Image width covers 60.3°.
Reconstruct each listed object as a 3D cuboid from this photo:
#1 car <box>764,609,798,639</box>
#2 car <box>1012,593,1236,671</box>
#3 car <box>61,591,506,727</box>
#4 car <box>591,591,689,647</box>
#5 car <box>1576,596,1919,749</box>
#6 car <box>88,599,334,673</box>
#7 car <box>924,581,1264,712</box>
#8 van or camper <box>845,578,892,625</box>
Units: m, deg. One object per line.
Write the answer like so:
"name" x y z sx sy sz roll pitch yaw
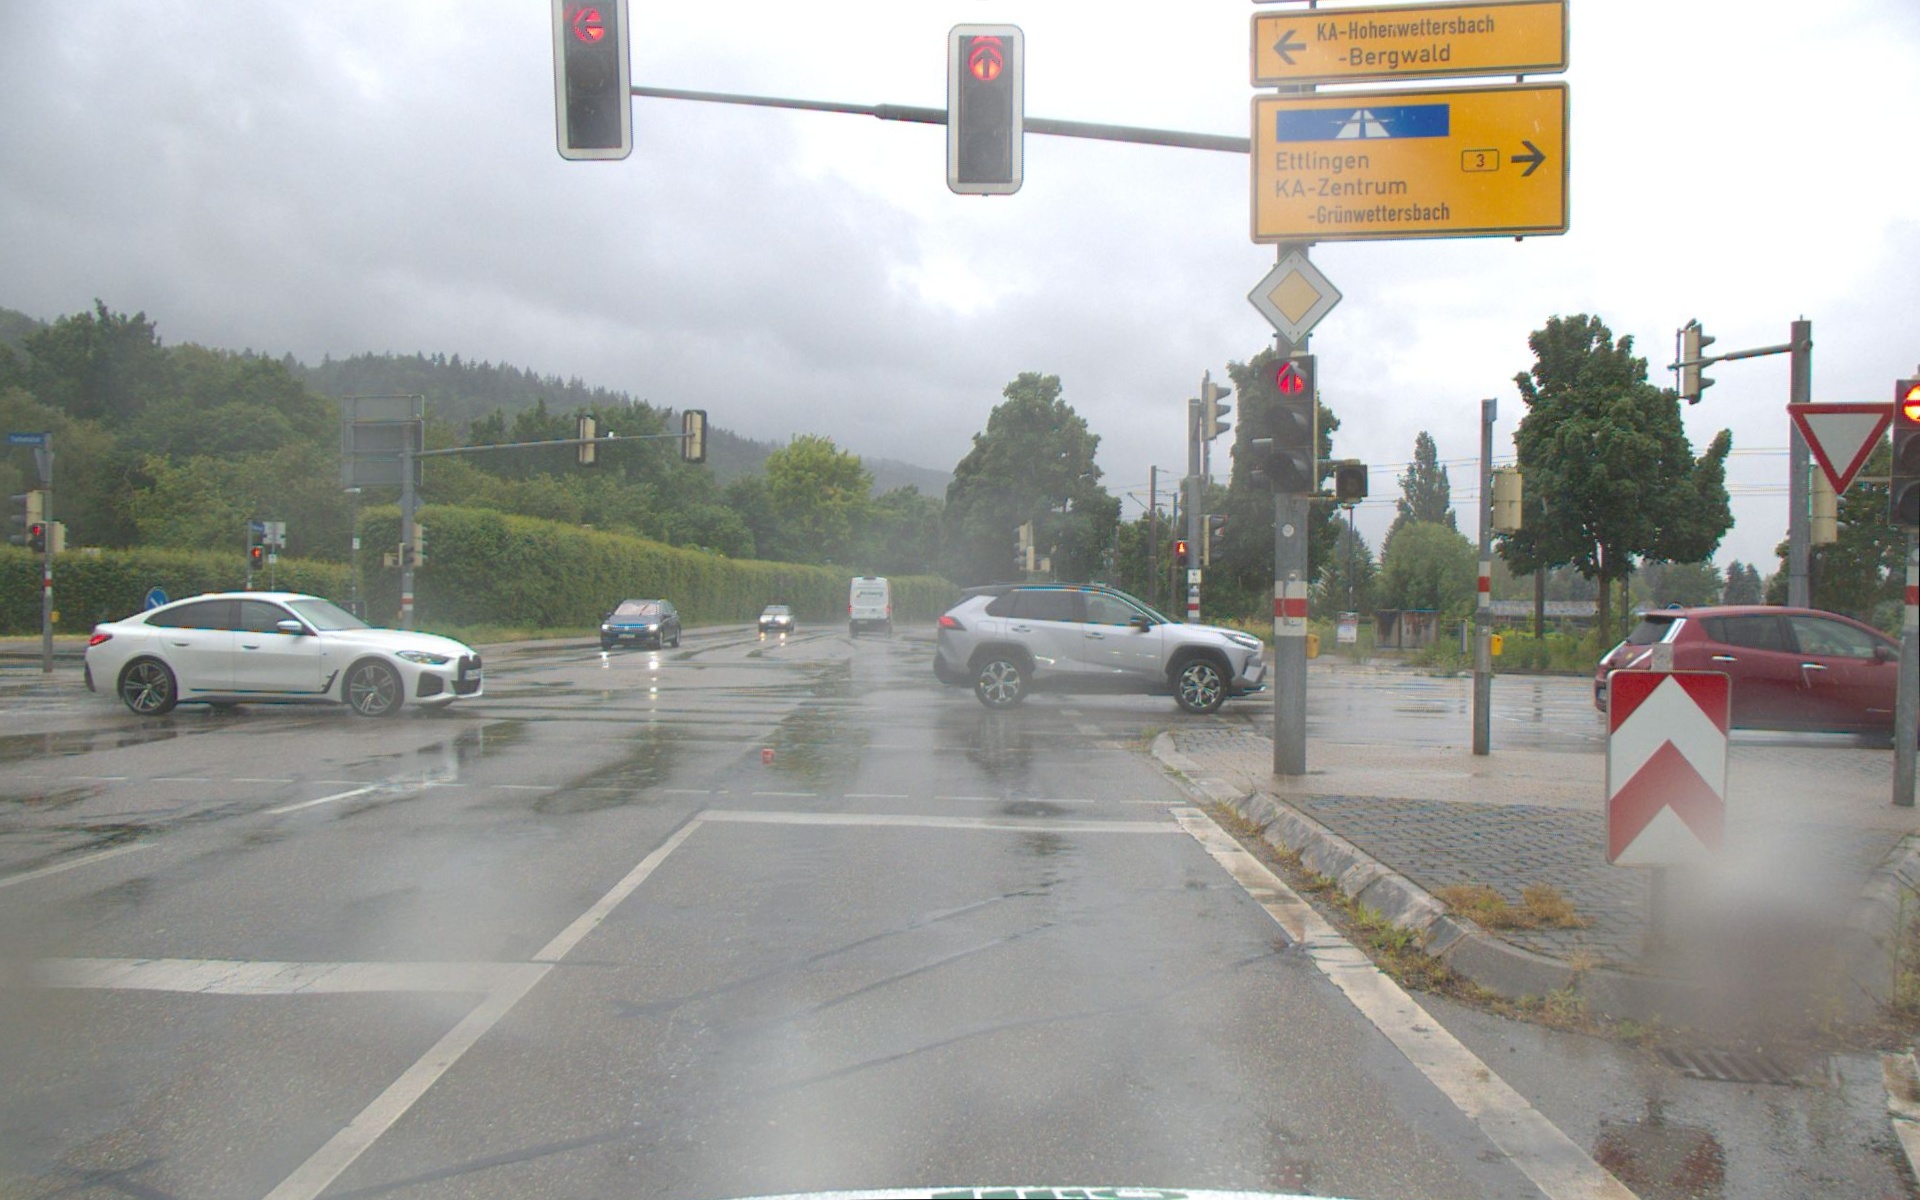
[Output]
"car" -9.604 1.275 88.844 1.526 1.507 3.360 1 0 -1
"car" 3.412 0.652 34.875 4.572 1.580 1.823 0 0 3
"car" -8.248 0.680 20.372 4.778 1.580 1.801 0 0 6
"car" -9.877 0.566 51.405 1.839 1.601 4.647 -2 0 3
"car" 9.544 0.799 19.053 4.282 1.607 1.734 1 0 6
"car" -16.395 0.765 36.353 4.572 1.580 1.823 0 0 2
"car" 1.847 0.595 22.730 4.431 1.607 1.914 1 0 7
"van or camper" -4.426 0.055 80.611 2.110 2.207 4.863 1 0 -1
